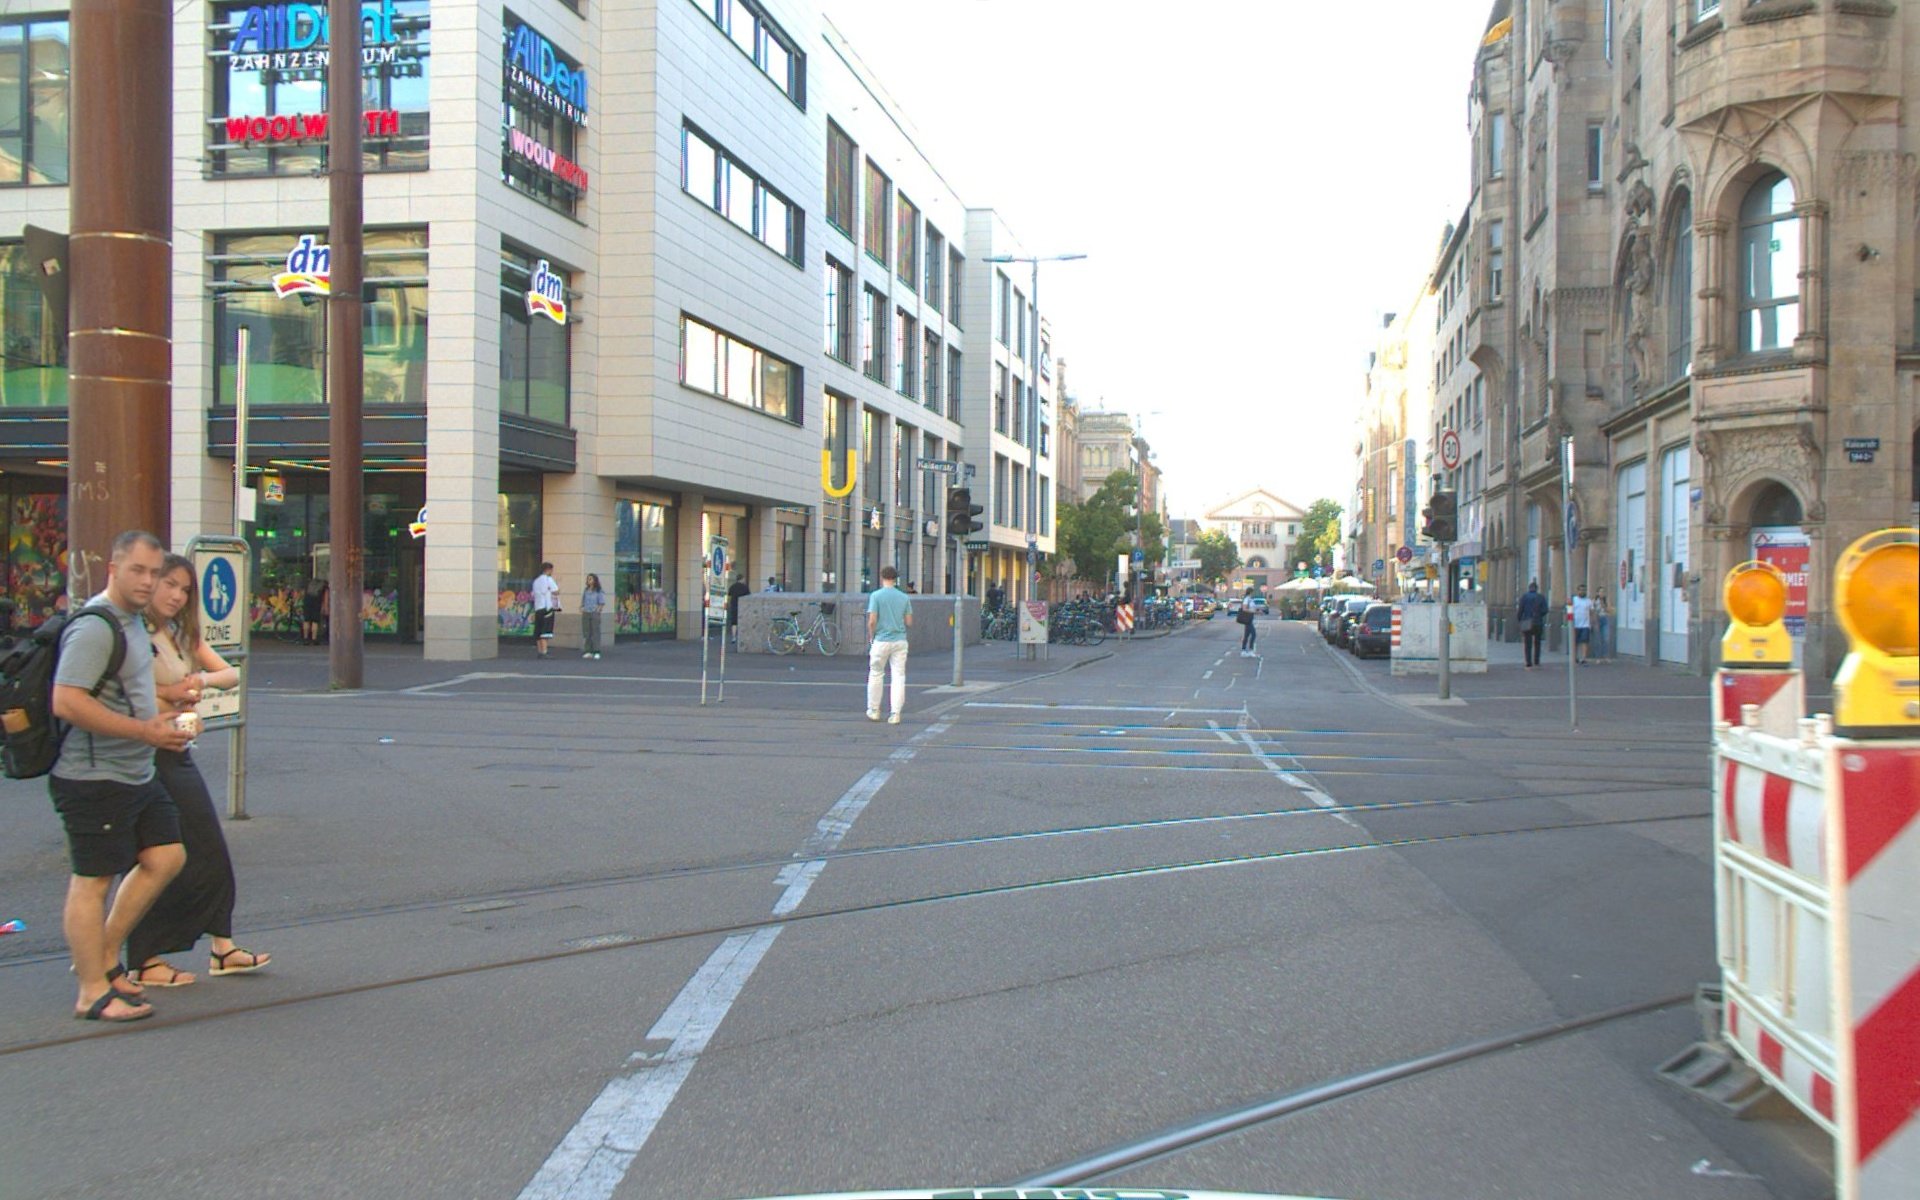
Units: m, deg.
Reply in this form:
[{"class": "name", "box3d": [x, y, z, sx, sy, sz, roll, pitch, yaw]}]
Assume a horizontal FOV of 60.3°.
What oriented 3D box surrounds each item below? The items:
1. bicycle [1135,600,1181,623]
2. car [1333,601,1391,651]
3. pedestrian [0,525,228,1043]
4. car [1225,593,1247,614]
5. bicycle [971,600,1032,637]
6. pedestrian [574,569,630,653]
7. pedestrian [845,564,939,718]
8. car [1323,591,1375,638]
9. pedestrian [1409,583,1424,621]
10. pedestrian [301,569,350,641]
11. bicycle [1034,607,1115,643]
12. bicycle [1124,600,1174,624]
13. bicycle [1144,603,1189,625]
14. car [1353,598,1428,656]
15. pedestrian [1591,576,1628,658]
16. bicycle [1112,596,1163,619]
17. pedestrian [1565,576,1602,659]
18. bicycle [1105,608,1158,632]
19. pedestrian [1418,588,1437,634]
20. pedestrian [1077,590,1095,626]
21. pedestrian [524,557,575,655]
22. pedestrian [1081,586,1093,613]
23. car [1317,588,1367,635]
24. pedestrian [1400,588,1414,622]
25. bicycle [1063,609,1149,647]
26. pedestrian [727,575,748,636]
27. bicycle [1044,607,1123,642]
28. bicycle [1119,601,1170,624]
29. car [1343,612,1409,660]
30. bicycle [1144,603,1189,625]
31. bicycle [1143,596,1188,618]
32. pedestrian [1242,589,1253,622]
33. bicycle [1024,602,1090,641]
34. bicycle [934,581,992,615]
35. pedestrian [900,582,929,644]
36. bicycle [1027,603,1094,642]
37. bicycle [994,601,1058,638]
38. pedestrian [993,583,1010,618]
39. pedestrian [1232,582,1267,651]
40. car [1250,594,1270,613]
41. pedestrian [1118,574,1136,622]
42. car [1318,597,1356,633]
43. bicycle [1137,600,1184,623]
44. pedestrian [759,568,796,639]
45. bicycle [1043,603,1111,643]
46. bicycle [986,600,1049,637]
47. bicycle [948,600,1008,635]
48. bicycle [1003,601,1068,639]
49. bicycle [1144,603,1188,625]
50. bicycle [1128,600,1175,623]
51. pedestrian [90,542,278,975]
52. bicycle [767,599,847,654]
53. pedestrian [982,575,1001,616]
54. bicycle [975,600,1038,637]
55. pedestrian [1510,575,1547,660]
[{"class": "bicycle", "box3d": [9.250, 0.524, 77.340, 2.102, 1.047, 0.641, 0, 0, 13]}, {"class": "car", "box3d": [13.220, 0.843, 54.553, 1.643, 1.574, 3.676, -1, 0, 11]}, {"class": "pedestrian", "box3d": [-3.071, 0.615, 5.865, 0.730, 1.730, 0.608, 0, 0, -11]}, {"class": "car", "box3d": [26.009, 0.309, 155.831, 1.951, 1.937, 4.003, 2, 0, 11]}, {"class": "bicycle", "box3d": [1.388, 0.617, 55.083, 1.936, 1.141, 0.555, 2, 0, -18]}, {"class": "pedestrian", "box3d": [-7.321, 0.222, 33.841, 0.751, 1.688, 0.816, 2, 0, 25]}, {"class": "pedestrian", "box3d": [-0.812, 0.485, 19.932, 0.848, 1.791, 0.767, 2, 0, 23]}, {"class": "car", "box3d": [14.212, 0.507, 60.589, 1.643, 1.641, 4.032, -1, 0, 11]}, {"class": "pedestrian", "box3d": [21.862, 0.084, 79.194, 0.630, 1.831, 0.672, 0, 0, 9]}, {"class": "pedestrian", "box3d": [-13.871, 0.103, 36.168, 0.561, 1.553, 0.790, 2, 0, 23]}, {"class": "bicycle", "box3d": [4.168, 0.904, 60.215, 2.839, 1.277, 0.801, 0, 0, -15]}, {"class": "bicycle", "box3d": [8.193, 0.521, 71.776, 2.102, 1.047, 0.641, 0, 0, 13]}, {"class": "bicycle", "box3d": [10.128, 0.690, 81.075, 2.102, 1.047, 0.641, 0, 0, 13]}, {"class": "car", "box3d": [11.444, 0.693, 44.120, 1.643, 1.449, 3.676, 1, 0, 11]}, {"class": "pedestrian", "box3d": [13.802, 0.355, 35.131, 0.611, 1.719, 0.626, 0, 0, 9]}, {"class": "bicycle", "box3d": [7.532, 0.311, 70.135, 2.102, 0.970, 0.641, 0, 0, 13]}, {"class": "pedestrian", "box3d": [13.080, 0.366, 34.696, 0.611, 1.719, 0.672, 0, 0, 9]}, {"class": "bicycle", "box3d": [7.076, 0.806, 68.154, 2.102, 0.970, 0.641, 0, 0, 13]}, {"class": "pedestrian", "box3d": [17.652, 0.406, 62.478, 0.630, 1.719, 0.672, 0, 0, 9]}, {"class": "pedestrian", "box3d": [5.502, 0.348, 72.381, 0.735, 1.556, 0.485, 0, 0, 11]}, {"class": "pedestrian", "box3d": [-8.125, 0.119, 32.757, 0.561, 1.887, 0.816, 2, 0, 23]}, {"class": "pedestrian", "box3d": [7.732, -0.034, 100.489, 0.665, 1.649, 0.574, 0, 0, 11]}, {"class": "car", "box3d": [15.222, 0.434, 66.035, 1.761, 1.799, 4.401, -1, 0, 11]}, {"class": "pedestrian", "box3d": [23.604, 0.267, 87.322, 0.630, 1.776, 0.672, 0, 0, 9]}, {"class": "bicycle", "box3d": [5.002, 0.949, 56.711, 2.839, 1.277, 0.801, 0, 0, -15]}, {"class": "pedestrian", "box3d": [-5.707, 0.146, 42.422, 0.381, 1.541, 0.506, 0, 0, 10]}, {"class": "bicycle", "box3d": [4.595, 0.909, 61.634, 2.839, 1.277, 0.801, 0, 0, -15]}, {"class": "bicycle", "box3d": [7.917, 0.518, 70.878, 2.102, 0.970, 0.641, 0, 0, 13]}, {"class": "car", "box3d": [12.393, 1.043, 49.408, 1.643, 1.313, 4.050, -1, 0, 11]}, {"class": "bicycle", "box3d": [9.987, 0.691, 80.046, 2.102, 1.047, 0.641, 0, 0, 13]}, {"class": "bicycle", "box3d": [9.854, 0.329, 79.289, 2.102, 1.047, 0.641, 0, 0, 13]}, {"class": "pedestrian", "box3d": [16.347, 0.312, 94.014, 0.586, 1.855, 0.452, 0, 0, 11]}, {"class": "bicycle", "box3d": [2.990, 0.654, 50.851, 1.936, 1.141, 0.555, 2, 0, -18]}, {"class": "bicycle", "box3d": [0.104, -0.076, 58.237, 1.936, 1.141, 0.555, 2, 0, -18]}, {"class": "pedestrian", "box3d": [-1.289, 0.365, 46.997, 0.666, 1.710, 0.600, 2, 0, 8]}, {"class": "bicycle", "box3d": [3.045, 0.684, 50.122, 1.936, 1.141, 0.555, 2, 0, -18]}, {"class": "bicycle", "box3d": [2.109, 0.618, 52.552, 1.936, 1.141, 0.555, 2, 0, -18]}, {"class": "pedestrian", "box3d": [1.992, 0.013, 78.983, 0.715, 1.649, 0.662, 0, 0, 11]}, {"class": "pedestrian", "box3d": [7.422, 0.418, 42.451, 0.817, 1.751, 0.682, 0, 0, 3]}, {"class": "car", "box3d": [31.923, 0.379, 175.902, 1.951, 1.937, 4.003, 2, 0, 11]}, {"class": "pedestrian", "box3d": [6.512, -0.074, 64.364, 0.643, 1.855, 0.528, 0, 0, 1]}, {"class": "car", "box3d": [18.745, 0.731, 82.334, 1.643, 1.695, 3.676, -1, 0, 11]}, {"class": "bicycle", "box3d": [9.273, 0.528, 76.591, 2.102, 1.047, 0.641, 0, 0, 13]}, {"class": "pedestrian", "box3d": [-4.736, 0.089, 42.916, 0.765, 1.781, 0.600, 2, 0, 8]}, {"class": "bicycle", "box3d": [3.491, 0.679, 49.254, 1.936, 1.141, 0.555, 2, 0, -18]}, {"class": "bicycle", "box3d": [1.838, 0.606, 53.219, 1.936, 1.141, 0.555, 2, 0, -18]}, {"class": "bicycle", "box3d": [0.621, 0.587, 56.304, 1.936, 1.141, 0.555, 2, 0, -18]}, {"class": "bicycle", "box3d": [2.377, 0.630, 51.845, 1.936, 1.141, 0.555, 2, 0, -18]}, {"class": "bicycle", "box3d": [10.211, 0.688, 81.799, 2.102, 1.047, 0.641, 0, 0, 13]}, {"class": "bicycle", "box3d": [8.792, 0.518, 75.880, 2.102, 1.047, 0.641, 0, 0, 13]}, {"class": "pedestrian", "box3d": [-3.016, 0.593, 6.463, 0.559, 1.621, 0.447, 0, 0, -12]}, {"class": "bicycle", "box3d": [-3.331, 0.574, 36.063, 1.660, 1.141, 0.451, 2, 0, 14]}, {"class": "pedestrian", "box3d": [1.276, -0.173, 66.131, 0.665, 1.649, 0.574, 0, 0, 11]}, {"class": "bicycle", "box3d": [1.519, 0.592, 53.927, 1.936, 1.141, 0.555, 2, 0, -18]}, {"class": "pedestrian", "box3d": [11.601, 0.359, 33.790, 0.611, 1.719, 0.672, 0, 0, 9]}]
